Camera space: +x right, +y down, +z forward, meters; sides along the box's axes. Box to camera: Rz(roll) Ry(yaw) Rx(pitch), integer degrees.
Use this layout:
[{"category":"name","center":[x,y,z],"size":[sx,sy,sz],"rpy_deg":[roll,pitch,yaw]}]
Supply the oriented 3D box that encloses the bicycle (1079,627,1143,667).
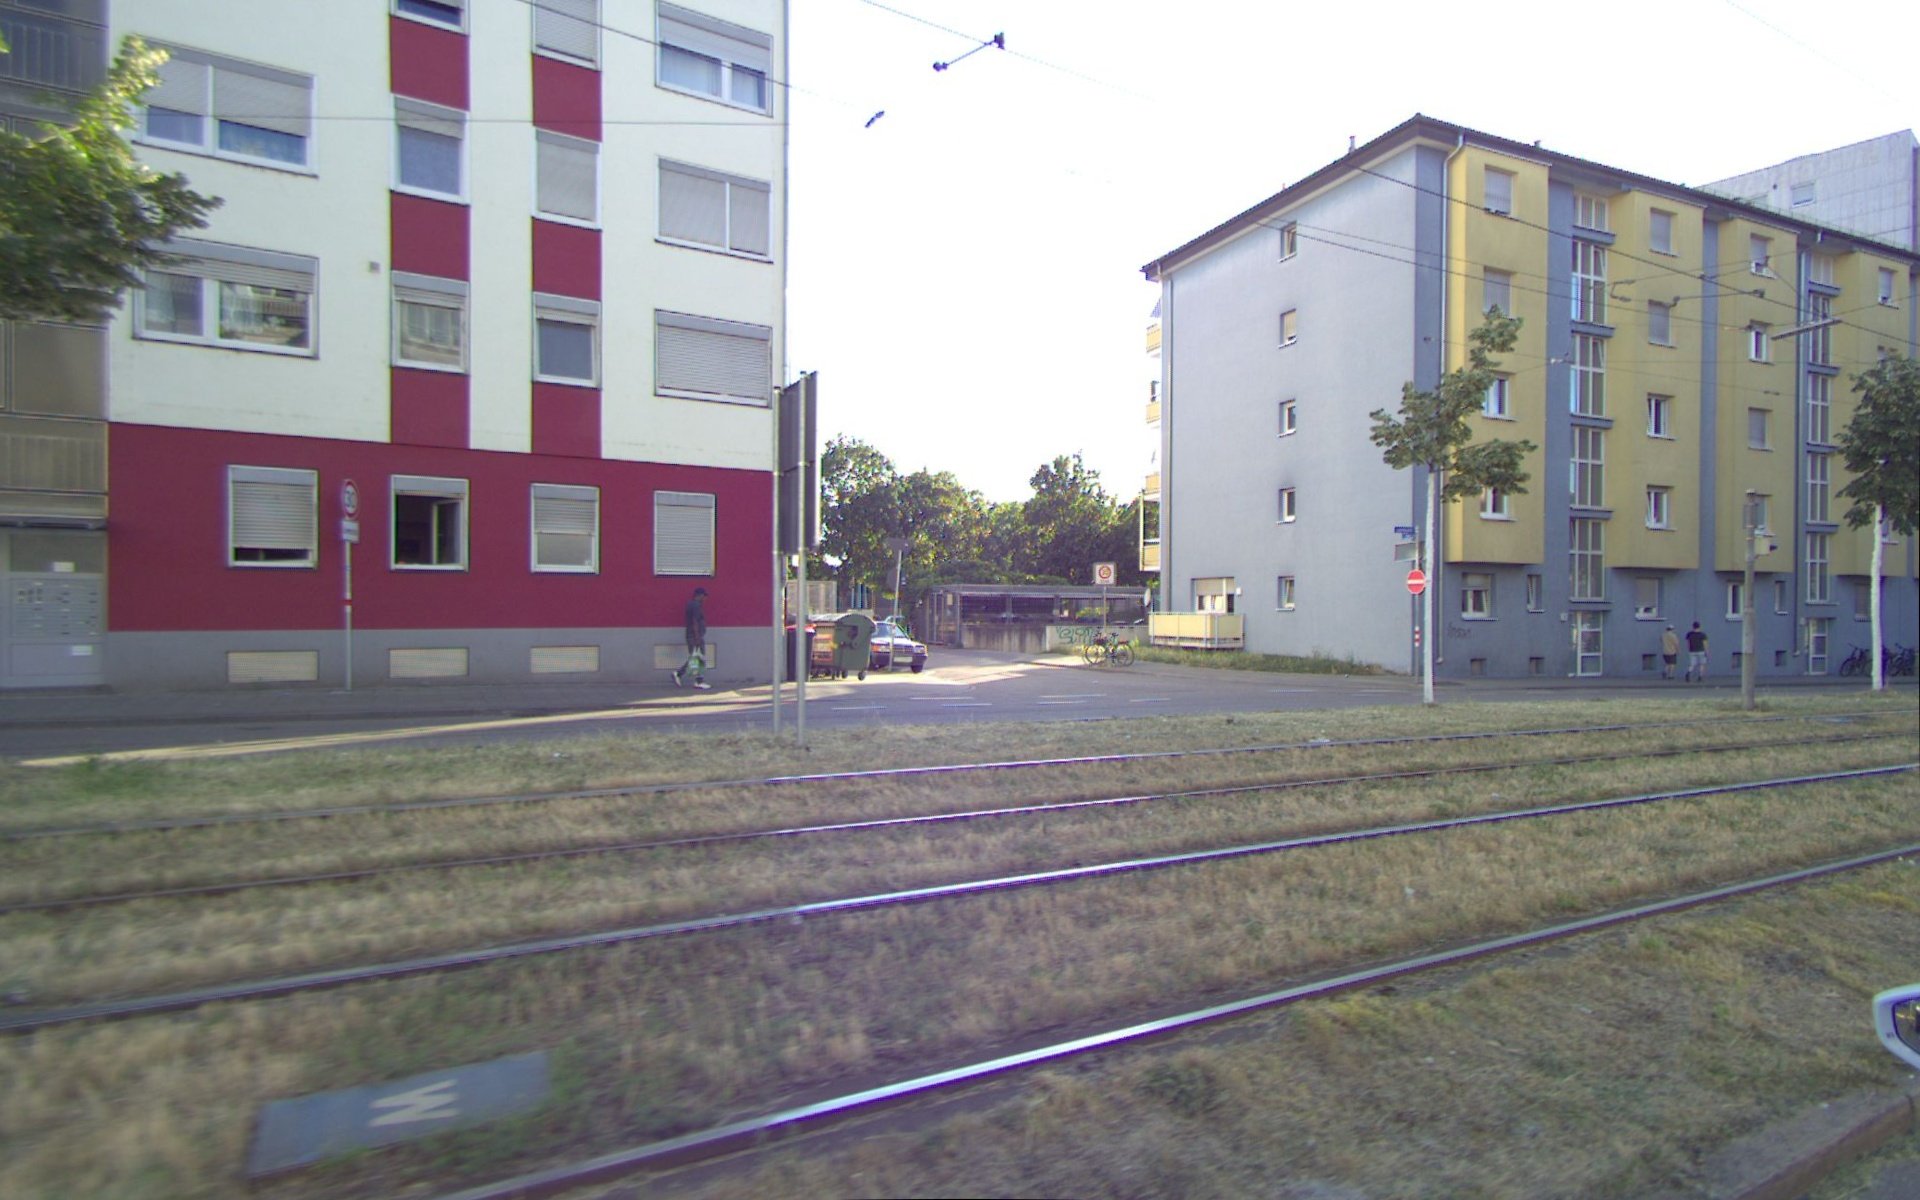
[{"category":"bicycle","center":[4.498,1.388,29.944],"size":[0.599,1.090,1.937],"rpy_deg":[-4,3,-41]}]

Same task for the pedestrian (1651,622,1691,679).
[{"category":"pedestrian","center":[22.044,1.556,31.149],"size":[0.697,1.718,0.614],"rpy_deg":[1,4,-25]}]

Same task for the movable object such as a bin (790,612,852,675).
[{"category":"movable object such as a bin","center":[-3.297,1.013,23.771],"size":[1.095,1.434,1.211],"rpy_deg":[1,-1,-29]}]

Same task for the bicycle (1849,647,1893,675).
[{"category":"bicycle","center":[33.246,2.223,36.654],"size":[1.885,0.937,0.426],"rpy_deg":[1,3,-24]}]

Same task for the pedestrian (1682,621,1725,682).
[{"category":"pedestrian","center":[22.678,1.560,30.626],"size":[0.874,1.797,0.591],"rpy_deg":[1,4,-25]}]

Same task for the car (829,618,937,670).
[{"category":"car","center":[-2.274,1.205,28.762],"size":[1.680,1.311,3.847],"rpy_deg":[1,0,-28]}]

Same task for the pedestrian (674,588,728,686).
[{"category":"pedestrian","center":[-4.623,0.651,17.934],"size":[0.782,1.712,0.610],"rpy_deg":[1,0,-31]}]

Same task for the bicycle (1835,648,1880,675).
[{"category":"bicycle","center":[32.166,2.195,35.993],"size":[1.885,0.937,0.426],"rpy_deg":[1,3,-24]}]

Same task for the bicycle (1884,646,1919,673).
[{"category":"bicycle","center":[35.407,2.237,37.637],"size":[1.885,0.972,0.426],"rpy_deg":[1,-1,-24]}]

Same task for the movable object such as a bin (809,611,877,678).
[{"category":"movable object such as a bin","center":[-2.644,0.977,22.547],"size":[1.125,1.434,1.211],"rpy_deg":[1,-1,-29]}]

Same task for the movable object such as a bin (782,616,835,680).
[{"category":"movable object such as a bin","center":[-3.079,0.955,20.338],"size":[0.796,1.242,0.862],"rpy_deg":[1,0,-29]}]
